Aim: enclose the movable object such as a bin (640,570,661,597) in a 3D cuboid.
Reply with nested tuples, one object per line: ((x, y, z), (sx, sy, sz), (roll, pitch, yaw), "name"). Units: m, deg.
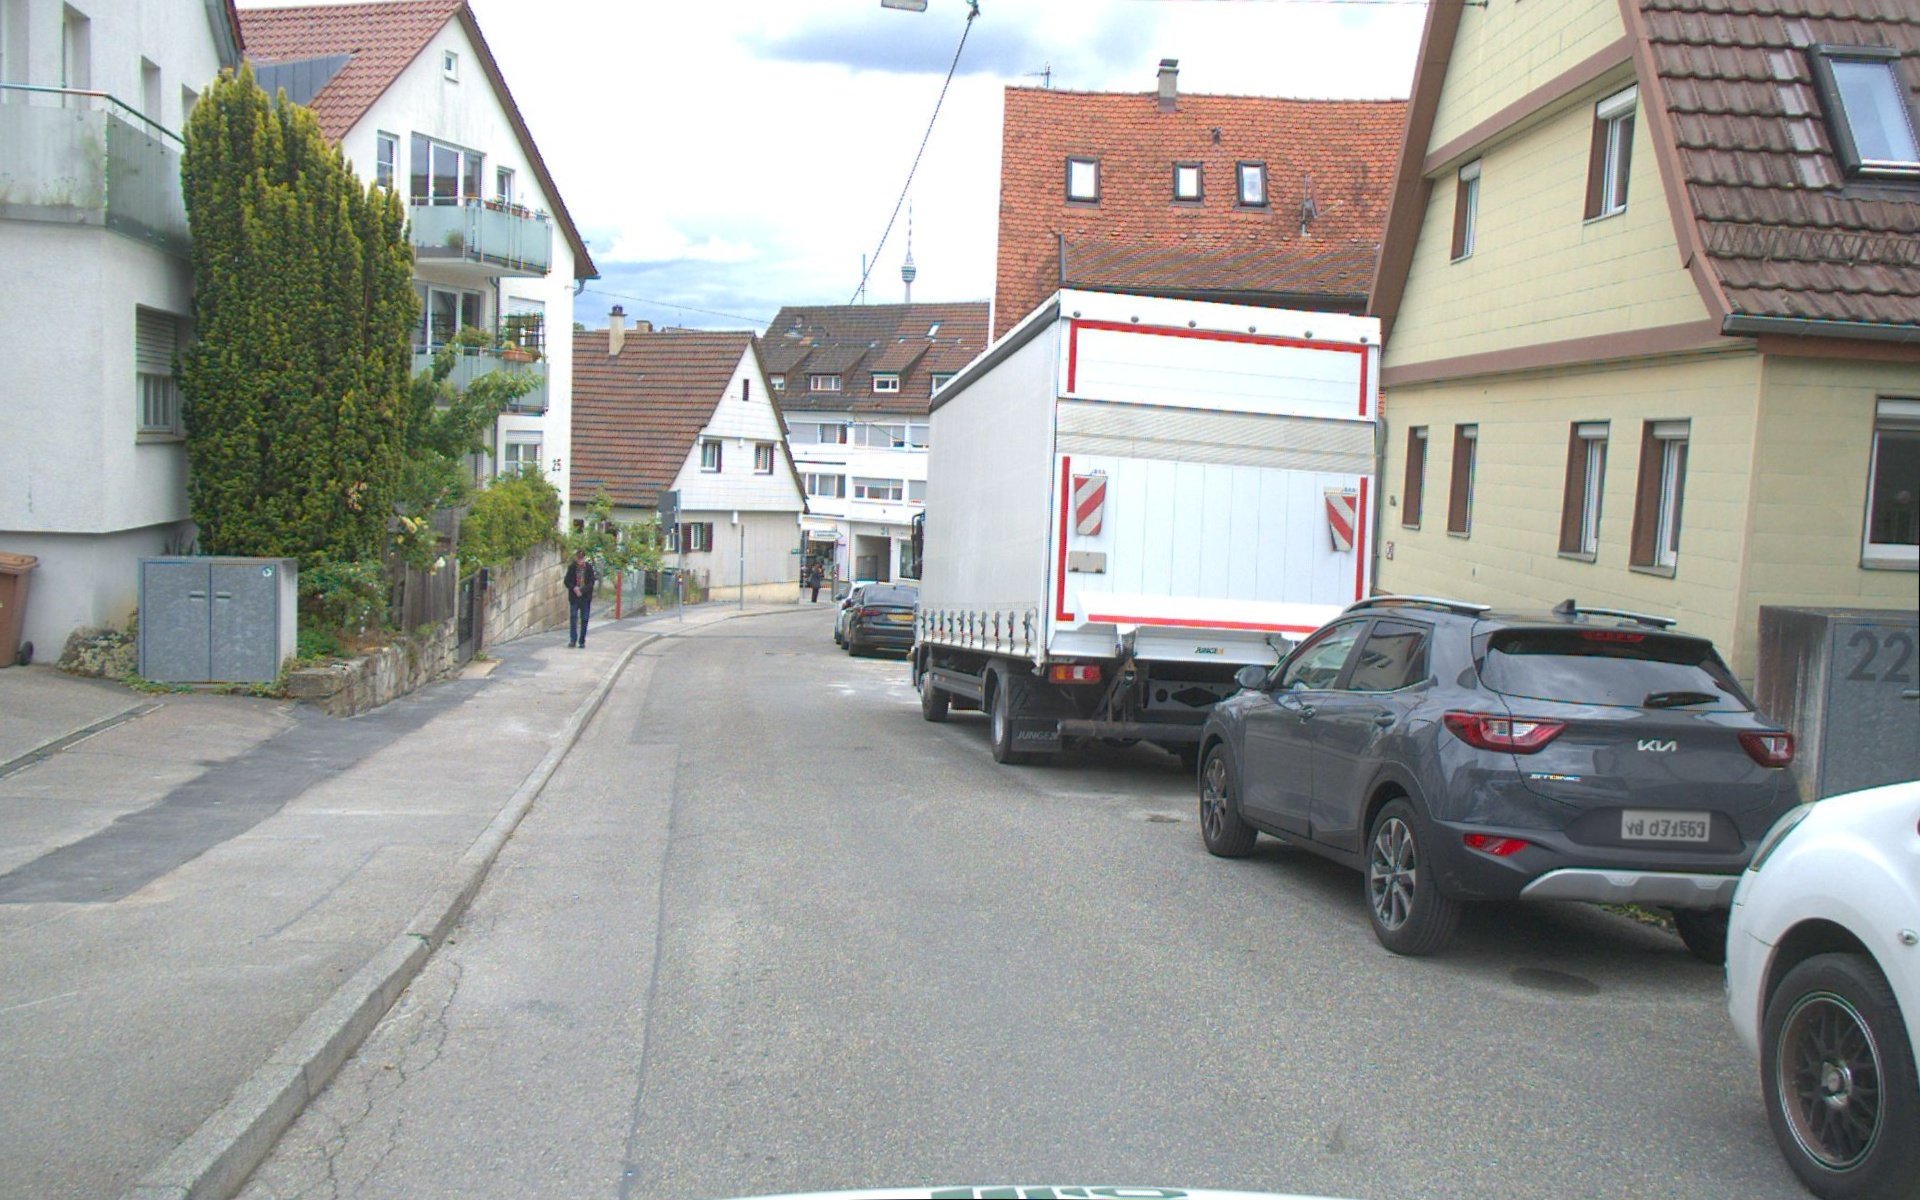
((-10.824, -0.579, 57.857), (0.485, 0.892, 0.452), (6, 1, 27), "movable object such as a bin")

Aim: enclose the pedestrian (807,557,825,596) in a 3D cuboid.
((-6.434, -1.042, 73.717), (0.636, 1.713, 0.602), (2, 2, -17), "pedestrian")

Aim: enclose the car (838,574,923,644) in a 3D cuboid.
((-1.946, 0.162, 39.432), (1.760, 1.470, 4.293), (3, 1, -5), "car")

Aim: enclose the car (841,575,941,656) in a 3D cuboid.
((-1.485, 0.274, 34.027), (1.642, 1.433, 4.045), (4, 1, -7), "car")

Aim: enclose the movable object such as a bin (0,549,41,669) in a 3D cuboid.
((-8.113, 0.055, 13.869), (0.503, 0.916, 0.431), (9, 5, -10), "movable object such as a bin")

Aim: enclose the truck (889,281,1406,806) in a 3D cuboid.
((1.218, -0.463, 15.904), (2.627, 3.659, 8.087), (2, 1, -10), "truck")

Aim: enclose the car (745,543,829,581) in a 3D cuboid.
((-9.313, -2.057, 89.008), (4.283, 1.810, 1.940), (4, 3, 37), "car")

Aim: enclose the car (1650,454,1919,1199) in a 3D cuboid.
((3.276, 0.646, 3.058), (1.800, 1.845, 4.300), (3, 1, -5), "car")

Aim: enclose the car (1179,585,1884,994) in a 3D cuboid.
((2.552, 0.748, 8.529), (1.701, 1.532, 4.043), (3, 0, -9), "car")

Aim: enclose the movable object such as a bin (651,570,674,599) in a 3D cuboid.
((-10.366, -0.545, 57.570), (0.517, 0.933, 0.489), (6, 1, 26), "movable object such as a bin")

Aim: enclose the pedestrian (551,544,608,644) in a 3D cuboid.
((-6.833, -0.117, 29.729), (0.825, 1.706, 0.974), (4, 0, -9), "pedestrian")
